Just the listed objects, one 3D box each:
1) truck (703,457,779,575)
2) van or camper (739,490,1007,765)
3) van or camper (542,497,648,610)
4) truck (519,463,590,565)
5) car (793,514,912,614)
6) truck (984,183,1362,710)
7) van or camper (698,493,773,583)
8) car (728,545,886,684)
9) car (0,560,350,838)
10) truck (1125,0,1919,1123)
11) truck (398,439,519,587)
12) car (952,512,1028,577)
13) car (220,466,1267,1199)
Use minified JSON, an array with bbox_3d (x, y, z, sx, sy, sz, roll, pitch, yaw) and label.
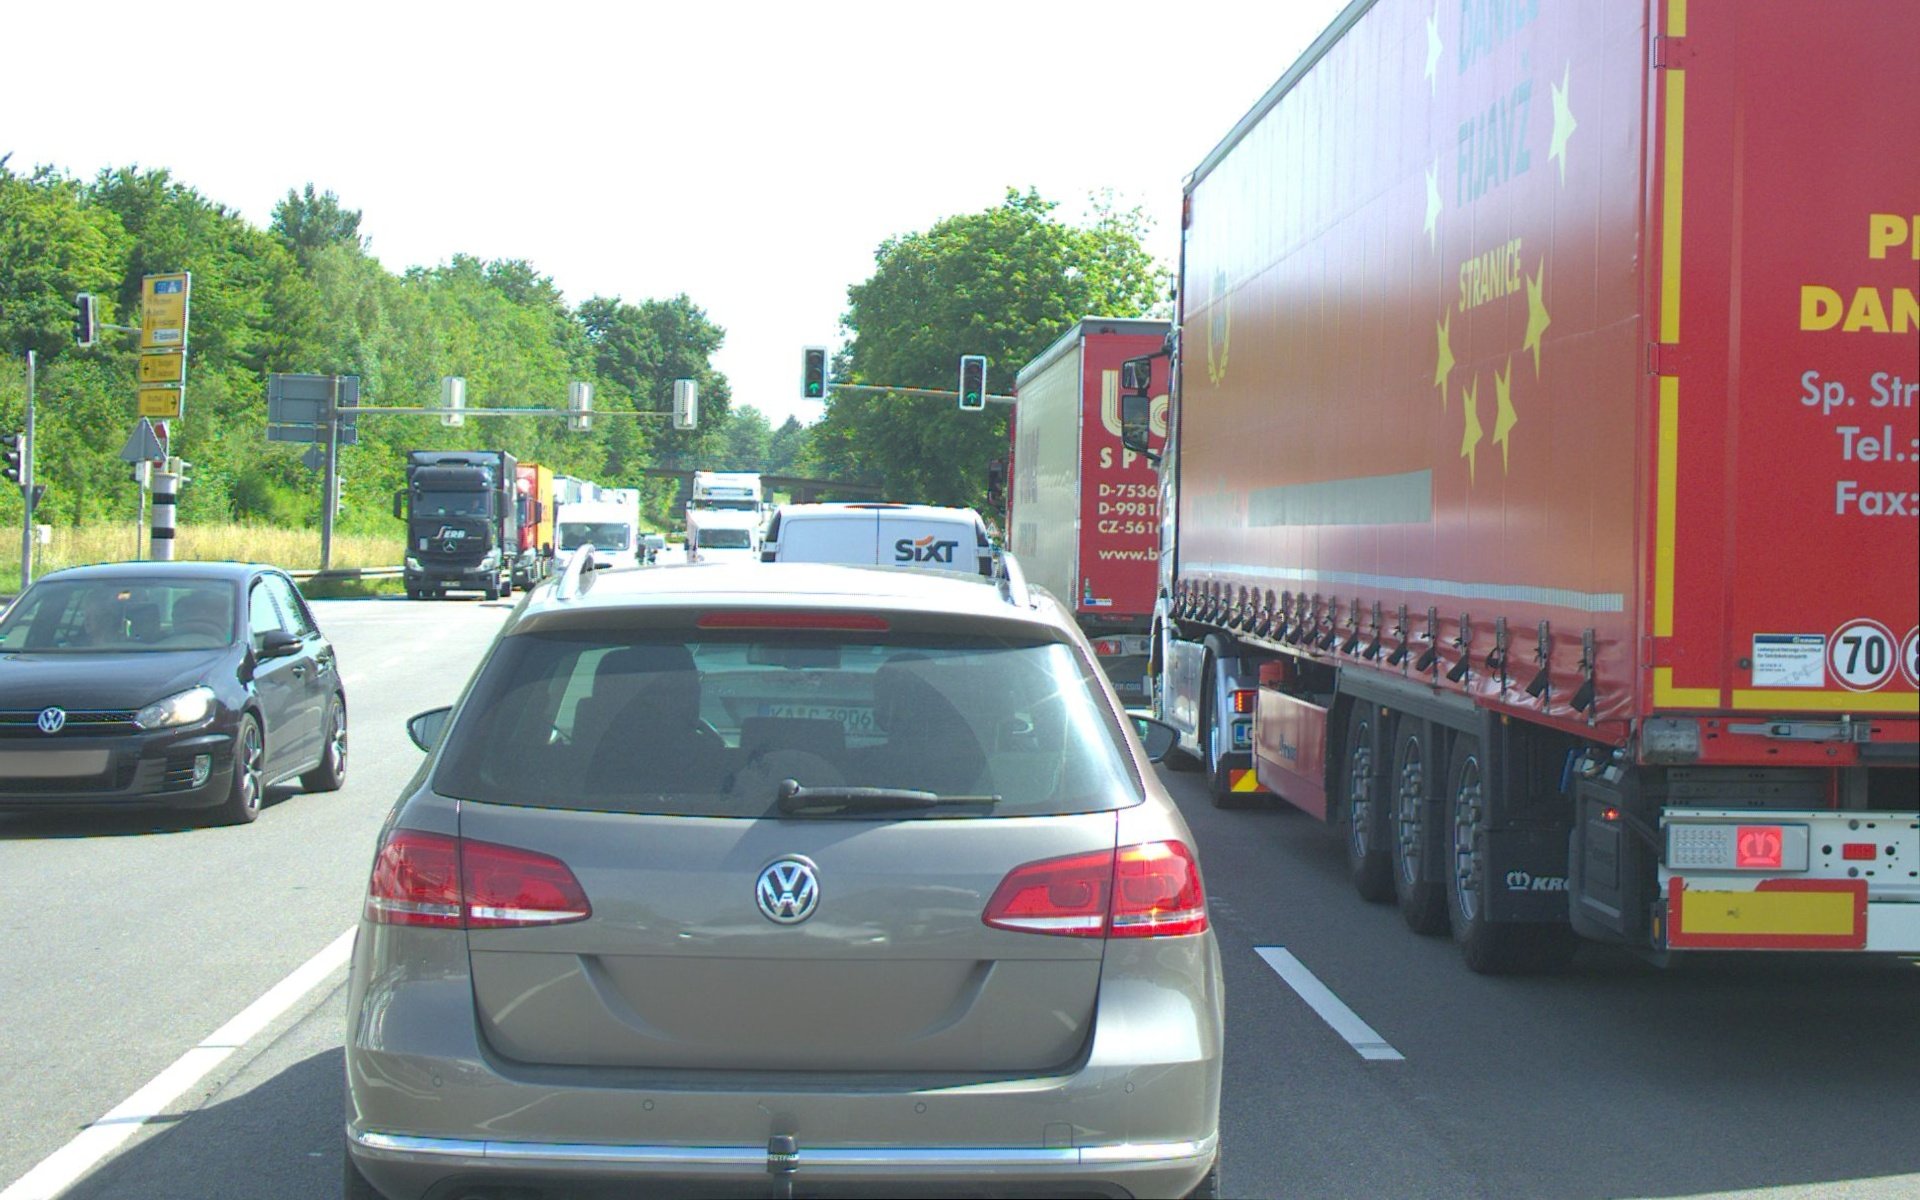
[{"bbox_3d":[-8.140,-3.119,128.530,2.552,4.292,7.596,0,1,-2],"label":"truck"},{"bbox_3d":[-0.683,0.162,26.214,1.852,1.899,3.785,1,1,-2],"label":"van or camper"},{"bbox_3d":[-8.617,-1.112,81.513,2.173,2.542,4.171,1,1,-2],"label":"van or camper"},{"bbox_3d":[-15.535,-3.294,132.043,2.532,3.773,6.991,-1,1,-5],"label":"truck"},{"bbox_3d":[-1.700,-0.566,55.209,1.727,1.514,3.312,1,0,1],"label":"car"},{"bbox_3d":[2.187,-1.682,42.861,3.062,5.203,17.009,1,1,-2],"label":"truck"},{"bbox_3d":[-7.403,-2.015,113.822,2.224,2.831,5.711,1,0,-2],"label":"van or camper"},{"bbox_3d":[-1.764,0.160,40.148,1.727,1.514,3.312,1,0,-2],"label":"car"},{"bbox_3d":[-4.689,0.494,19.762,1.666,1.404,3.926,-1,1,0],"label":"car"},{"bbox_3d":[2.995,-0.868,17.457,2.957,4.255,16.586,1,1,-2],"label":"truck"},{"bbox_3d":[-13.362,-2.312,91.978,2.812,3.773,6.991,-1,1,-5],"label":"truck"},{"bbox_3d":[0.740,-1.378,86.311,1.726,1.514,3.312,2,0,-2],"label":"car"},{"bbox_3d":[-0.325,0.569,7.639,1.790,1.633,3.503,0,1,2],"label":"car"}]
